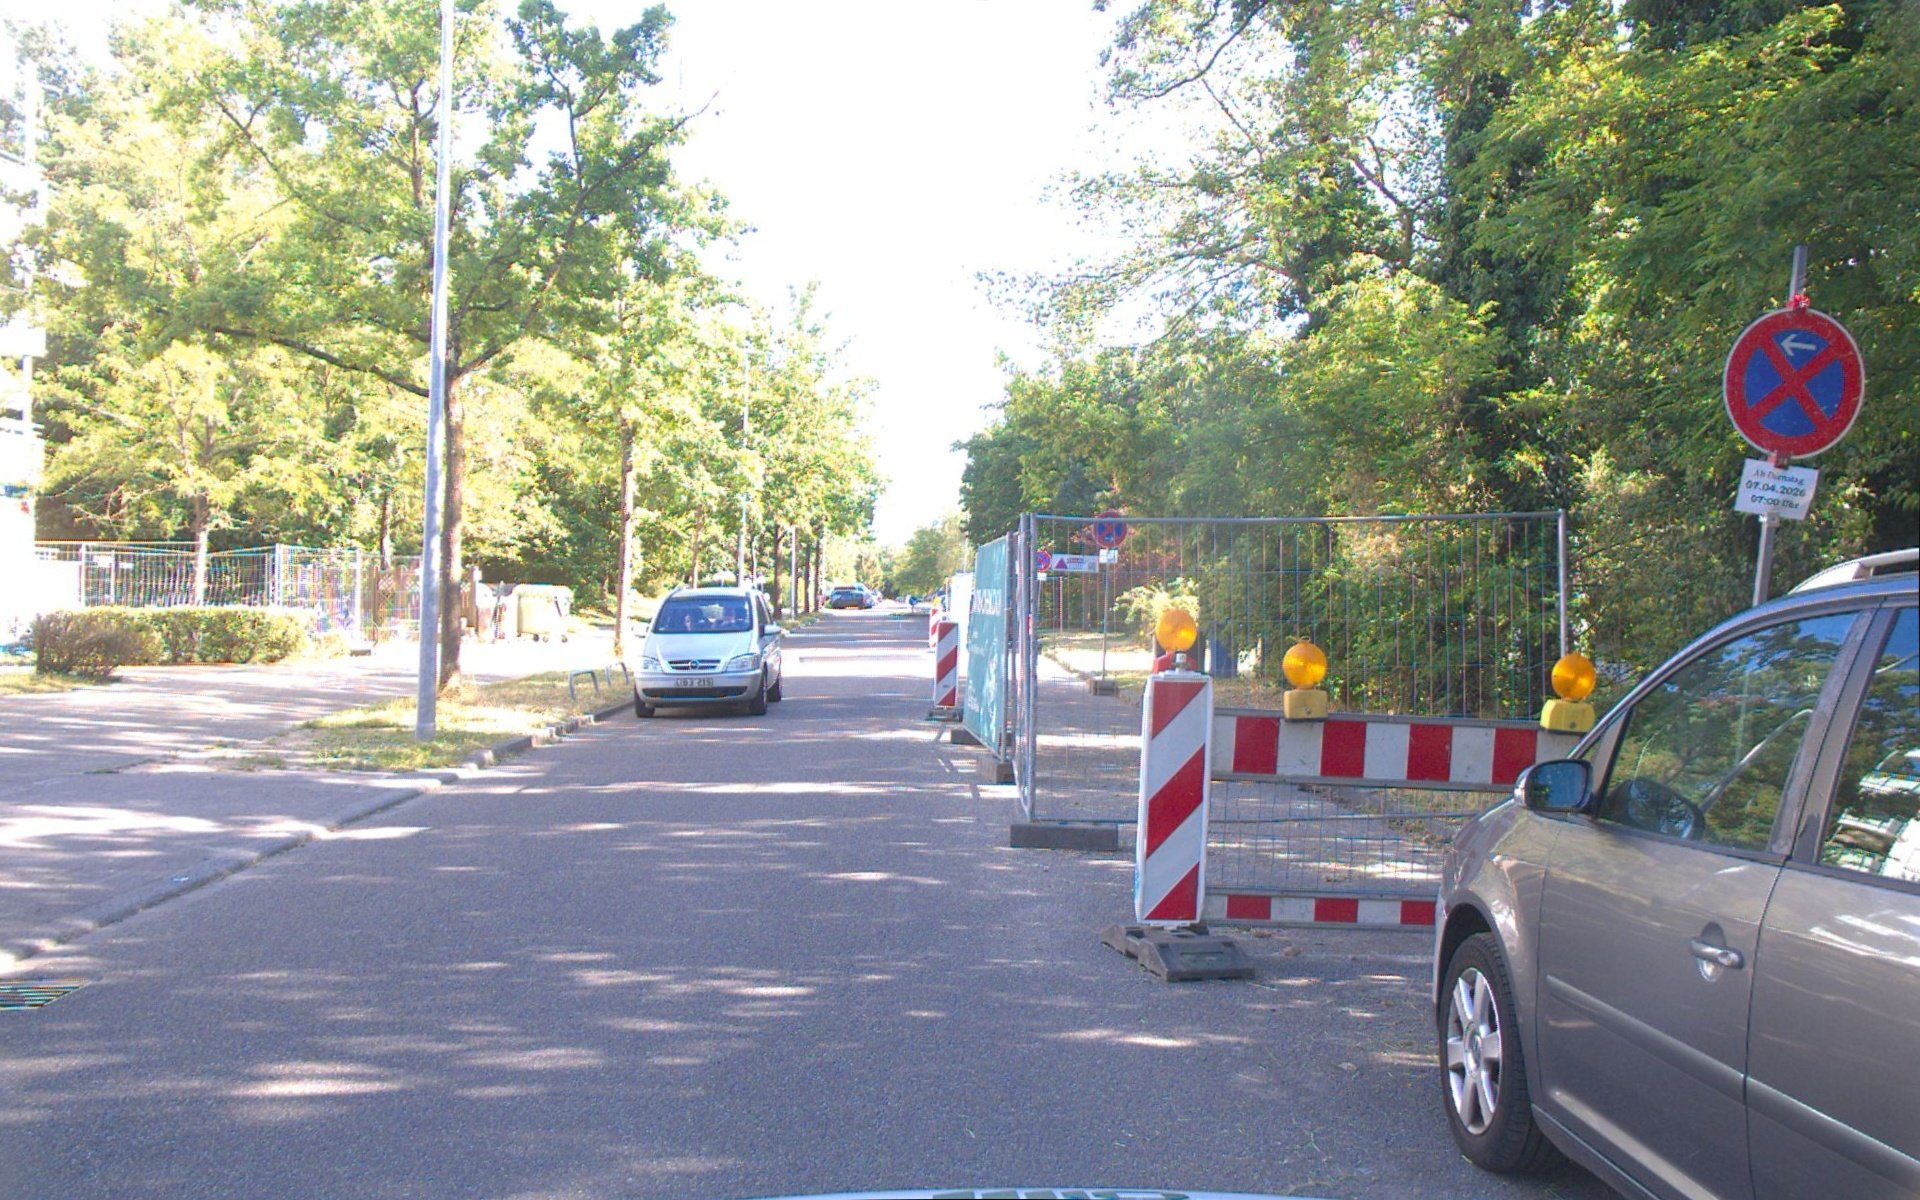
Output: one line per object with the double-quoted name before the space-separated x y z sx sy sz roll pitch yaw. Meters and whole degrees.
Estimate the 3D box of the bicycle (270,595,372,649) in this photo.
"bicycle" -12.636 0.442 32.746 1.828 1.045 0.399 1 -1 -15

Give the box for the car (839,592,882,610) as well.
"car" -9.825 0.071 163.965 4.022 1.604 1.958 2 0 0

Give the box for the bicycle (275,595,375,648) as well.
"bicycle" -12.720 0.440 33.166 1.807 1.045 0.399 1 -1 -15

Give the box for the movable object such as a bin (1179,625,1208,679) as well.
"movable object such as a bin" 3.920 0.869 27.795 0.404 0.885 0.484 -1 0 -1

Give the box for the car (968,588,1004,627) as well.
"car" 1.299 0.361 82.882 1.590 1.804 3.668 2 0 -1

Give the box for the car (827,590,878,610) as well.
"car" -9.574 0.008 147.666 4.227 1.604 2.047 2 0 5

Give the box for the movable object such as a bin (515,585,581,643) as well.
"movable object such as a bin" -10.673 0.352 42.863 1.242 1.460 1.182 0 0 14

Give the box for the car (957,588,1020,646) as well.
"car" 0.921 0.506 51.490 1.772 1.680 4.422 2 0 2

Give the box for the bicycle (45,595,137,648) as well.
"bicycle" -17.539 0.428 33.373 1.659 1.045 0.401 1 -1 4

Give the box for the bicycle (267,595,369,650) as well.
"bicycle" -12.516 0.439 32.278 1.807 1.045 0.399 1 -1 -15

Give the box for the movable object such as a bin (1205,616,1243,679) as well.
"movable object such as a bin" 4.429 0.792 27.734 0.508 1.017 0.608 -1 0 -1

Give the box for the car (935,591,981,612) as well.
"car" -0.179 0.140 143.425 3.758 1.604 1.689 2 0 5

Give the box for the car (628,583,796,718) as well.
"car" -3.226 0.607 22.200 1.625 1.624 4.008 -1 0 0

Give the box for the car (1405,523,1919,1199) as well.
"car" 2.318 0.724 3.141 1.645 1.650 4.135 2 0 -2

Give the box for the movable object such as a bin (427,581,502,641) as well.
"movable object such as a bin" -12.445 0.270 41.599 1.244 1.460 1.324 0 0 26

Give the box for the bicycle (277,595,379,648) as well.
"bicycle" -12.827 0.444 33.627 1.882 1.045 0.399 1 -1 -15

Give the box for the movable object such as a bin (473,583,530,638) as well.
"movable object such as a bin" -12.316 0.276 44.456 1.132 1.460 1.258 0 0 -35

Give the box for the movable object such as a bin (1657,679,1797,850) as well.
"movable object such as a bin" 4.190 0.888 9.057 0.474 0.876 0.559 1 0 -4

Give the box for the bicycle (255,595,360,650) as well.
"bicycle" -12.529 0.435 31.805 1.824 1.045 0.399 1 -1 -15

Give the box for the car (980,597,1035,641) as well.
"car" 1.647 0.648 58.319 1.628 1.399 4.153 2 0 -2

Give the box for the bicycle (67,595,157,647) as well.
"bicycle" -17.450 0.429 34.051 1.659 1.045 0.401 1 -1 4

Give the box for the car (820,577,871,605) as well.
"car" -11.952 -0.934 172.850 5.100 2.666 2.290 2 0 -7

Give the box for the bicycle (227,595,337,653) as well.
"bicycle" -12.637 0.452 30.859 1.837 1.045 0.399 1 -1 -15

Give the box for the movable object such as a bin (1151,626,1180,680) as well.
"movable object such as a bin" 3.441 0.878 27.717 0.404 0.885 0.484 -1 0 -1

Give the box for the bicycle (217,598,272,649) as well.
"bicycle" -14.926 0.487 34.534 0.391 1.045 1.700 1 -1 1
